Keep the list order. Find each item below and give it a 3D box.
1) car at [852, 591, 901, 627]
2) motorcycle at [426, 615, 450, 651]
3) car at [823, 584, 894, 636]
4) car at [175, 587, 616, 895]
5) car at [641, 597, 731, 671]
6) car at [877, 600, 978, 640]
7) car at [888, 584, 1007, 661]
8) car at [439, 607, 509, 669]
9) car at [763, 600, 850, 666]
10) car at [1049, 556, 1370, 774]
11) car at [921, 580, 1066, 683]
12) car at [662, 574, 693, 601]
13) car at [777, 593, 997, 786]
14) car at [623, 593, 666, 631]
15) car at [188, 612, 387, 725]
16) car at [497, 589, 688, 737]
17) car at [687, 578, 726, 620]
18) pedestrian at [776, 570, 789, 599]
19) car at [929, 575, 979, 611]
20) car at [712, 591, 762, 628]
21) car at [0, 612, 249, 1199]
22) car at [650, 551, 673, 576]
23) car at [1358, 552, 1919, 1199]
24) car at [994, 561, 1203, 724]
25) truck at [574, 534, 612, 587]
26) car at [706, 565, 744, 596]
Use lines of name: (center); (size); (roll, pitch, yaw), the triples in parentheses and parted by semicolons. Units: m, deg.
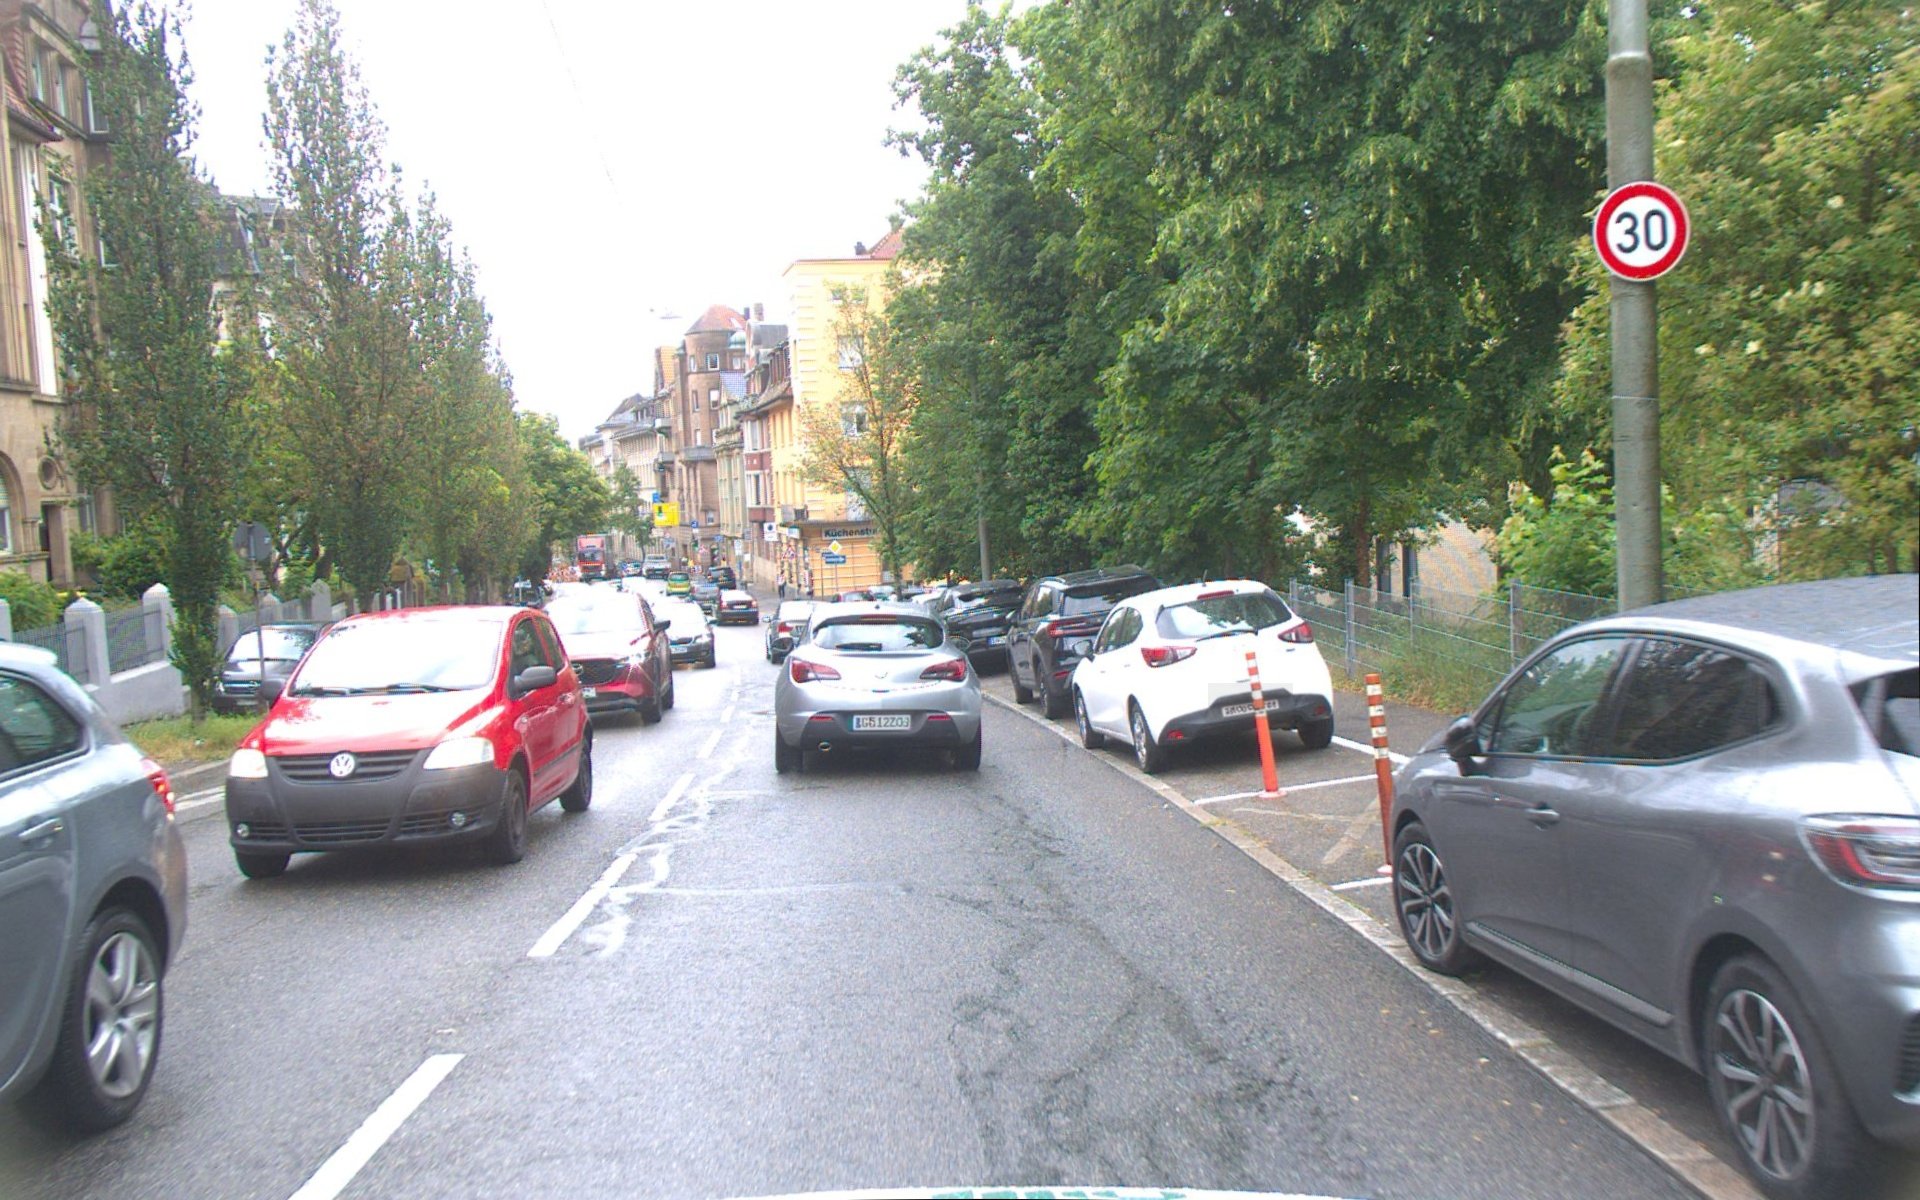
car: (-3.665, 0.380, 73.333); (1.739, 1.454, 3.788); (-1, 2, 4)
motorcycle: (-19.105, 1.200, 60.555); (0.549, 1.259, 1.641); (-3, 0, -9)
car: (-3.464, 0.336, 55.983); (1.783, 1.492, 3.990); (-7, 1, -10)
car: (-3.434, 0.742, 10.858); (1.621, 1.596, 3.998); (-2, 0, -2)
car: (-6.231, 0.728, 37.972); (1.704, 1.499, 4.276); (-3, 0, -6)
car: (-1.308, 0.816, 66.215); (3.708, 1.455, 1.776); (2, -2, -14)
car: (-0.347, 0.501, 37.121); (1.940, 1.477, 4.104); (-5, 0, -10)
car: (-15.253, 1.142, 52.084); (1.758, 1.679, 4.181); (-6, 1, -13)
car: (-3.632, 0.731, 38.576); (1.744, 1.455, 3.777); (0, 0, -10)
car: (2.134, 0.544, 15.345); (1.782, 1.520, 3.993); (-8, 0, -7)
car: (0.541, 0.567, 30.996); (1.939, 1.637, 4.477); (-5, 0, -8)
car: (-17.349, -0.737, 101.629); (1.612, 1.563, 3.704); (-2, 1, -13)
car: (-0.818, 0.725, 15.673); (1.780, 1.454, 3.995); (-2, 2, -7)
car: (-15.332, 0.555, 80.536); (1.789, 1.679, 3.992); (-4, 1, -9)
car: (-10.673, 1.029, 26.557); (1.779, 1.640, 3.996); (-1, 0, -4)
car: (-4.744, 0.738, 21.938); (1.810, 1.611, 4.274); (-5, 1, -5)
car: (-12.412, -0.066, 80.882); (1.612, 1.718, 3.706); (-2, 4, -13)
pedestrian: (-9.640, -0.848, 89.731); (0.602, 1.522, 0.551); (-2, 3, -10)
car: (-0.253, -0.326, 75.159); (1.738, 1.454, 3.790); (-1, 2, 7)
car: (-9.070, 0.366, 67.140); (1.737, 1.439, 3.705); (0, 1, -12)
car: (-3.174, 0.830, 3.382); (1.738, 1.523, 4.260); (-2, 0, -3)
car: (-24.741, -3.032, 136.989); (1.751, 1.887, 3.987); (-1, 0, -13)
car: (2.680, 0.629, 5.261); (1.617, 1.428, 3.811); (-6, 0, -3)
car: (1.623, 0.464, 21.149); (1.786, 1.712, 4.799); (-4, 1, -5)
truck: (-31.602, -3.466, 142.322); (2.742, 4.203, 10.813); (-2, 3, -14)
car: (-15.075, -1.241, 105.926); (1.960, 1.717, 3.989); (-8, 2, -11)
